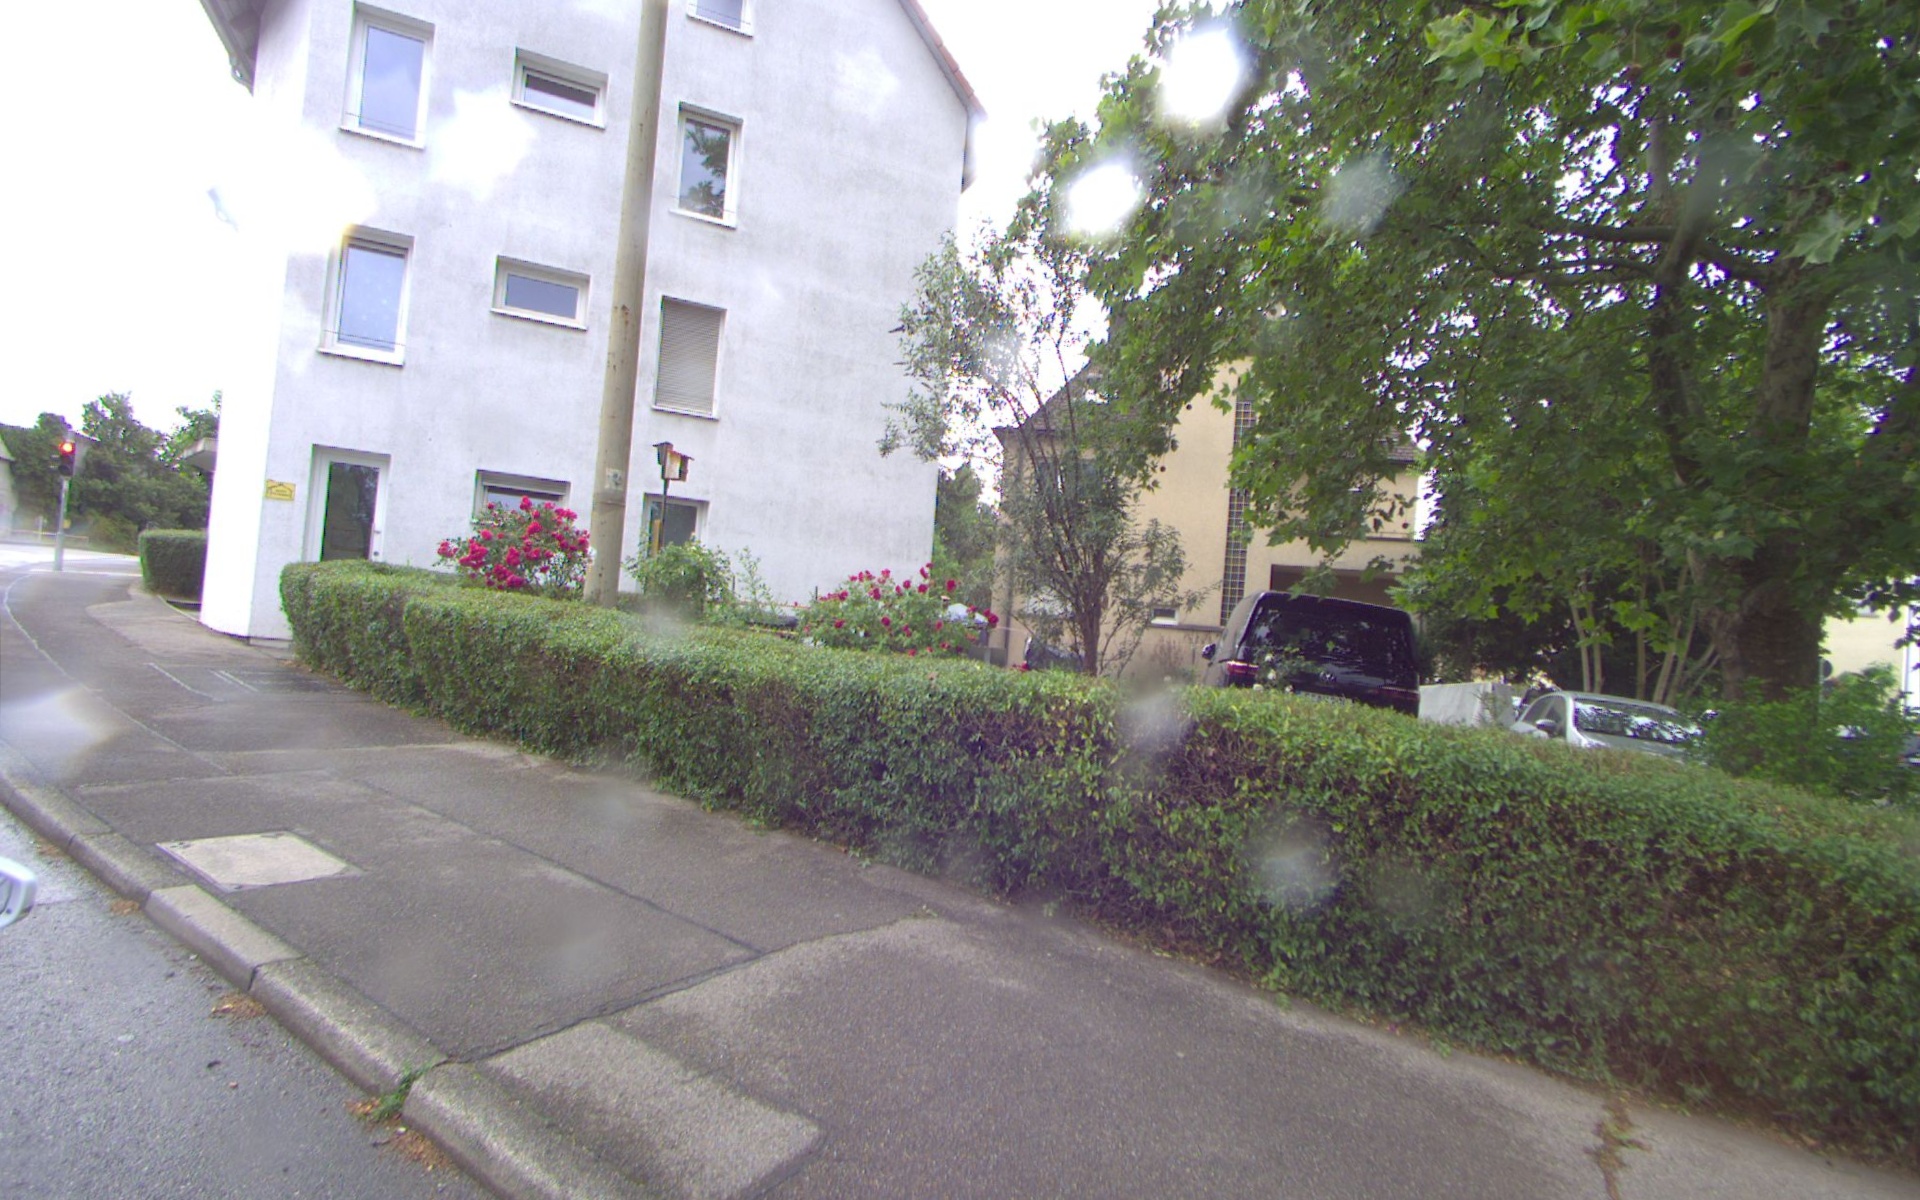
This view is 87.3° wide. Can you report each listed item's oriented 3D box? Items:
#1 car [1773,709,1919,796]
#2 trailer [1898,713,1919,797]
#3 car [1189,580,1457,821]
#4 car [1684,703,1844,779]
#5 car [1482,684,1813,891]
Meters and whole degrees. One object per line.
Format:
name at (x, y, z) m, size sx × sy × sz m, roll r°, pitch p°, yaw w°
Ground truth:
car at (25.274, 4.225, 27.982) m, size 1.962 × 1.861 × 4.584 m, roll 6°, pitch -2°, yaw 9°
trailer at (24.730, 3.935, 23.968) m, size 1.640 × 2.037 × 3.494 m, roll 6°, pitch -1°, yaw 8°
car at (3.768, 0.997, 11.299) m, size 1.962 × 1.955 × 4.419 m, roll 6°, pitch -2°, yaw 11°
car at (26.358, 4.567, 33.227) m, size 1.962 × 1.861 × 4.584 m, roll 6°, pitch -2°, yaw 9°
car at (7.396, 1.886, 11.342) m, size 1.788 × 1.599 × 4.003 m, roll 6°, pitch -2°, yaw 16°
